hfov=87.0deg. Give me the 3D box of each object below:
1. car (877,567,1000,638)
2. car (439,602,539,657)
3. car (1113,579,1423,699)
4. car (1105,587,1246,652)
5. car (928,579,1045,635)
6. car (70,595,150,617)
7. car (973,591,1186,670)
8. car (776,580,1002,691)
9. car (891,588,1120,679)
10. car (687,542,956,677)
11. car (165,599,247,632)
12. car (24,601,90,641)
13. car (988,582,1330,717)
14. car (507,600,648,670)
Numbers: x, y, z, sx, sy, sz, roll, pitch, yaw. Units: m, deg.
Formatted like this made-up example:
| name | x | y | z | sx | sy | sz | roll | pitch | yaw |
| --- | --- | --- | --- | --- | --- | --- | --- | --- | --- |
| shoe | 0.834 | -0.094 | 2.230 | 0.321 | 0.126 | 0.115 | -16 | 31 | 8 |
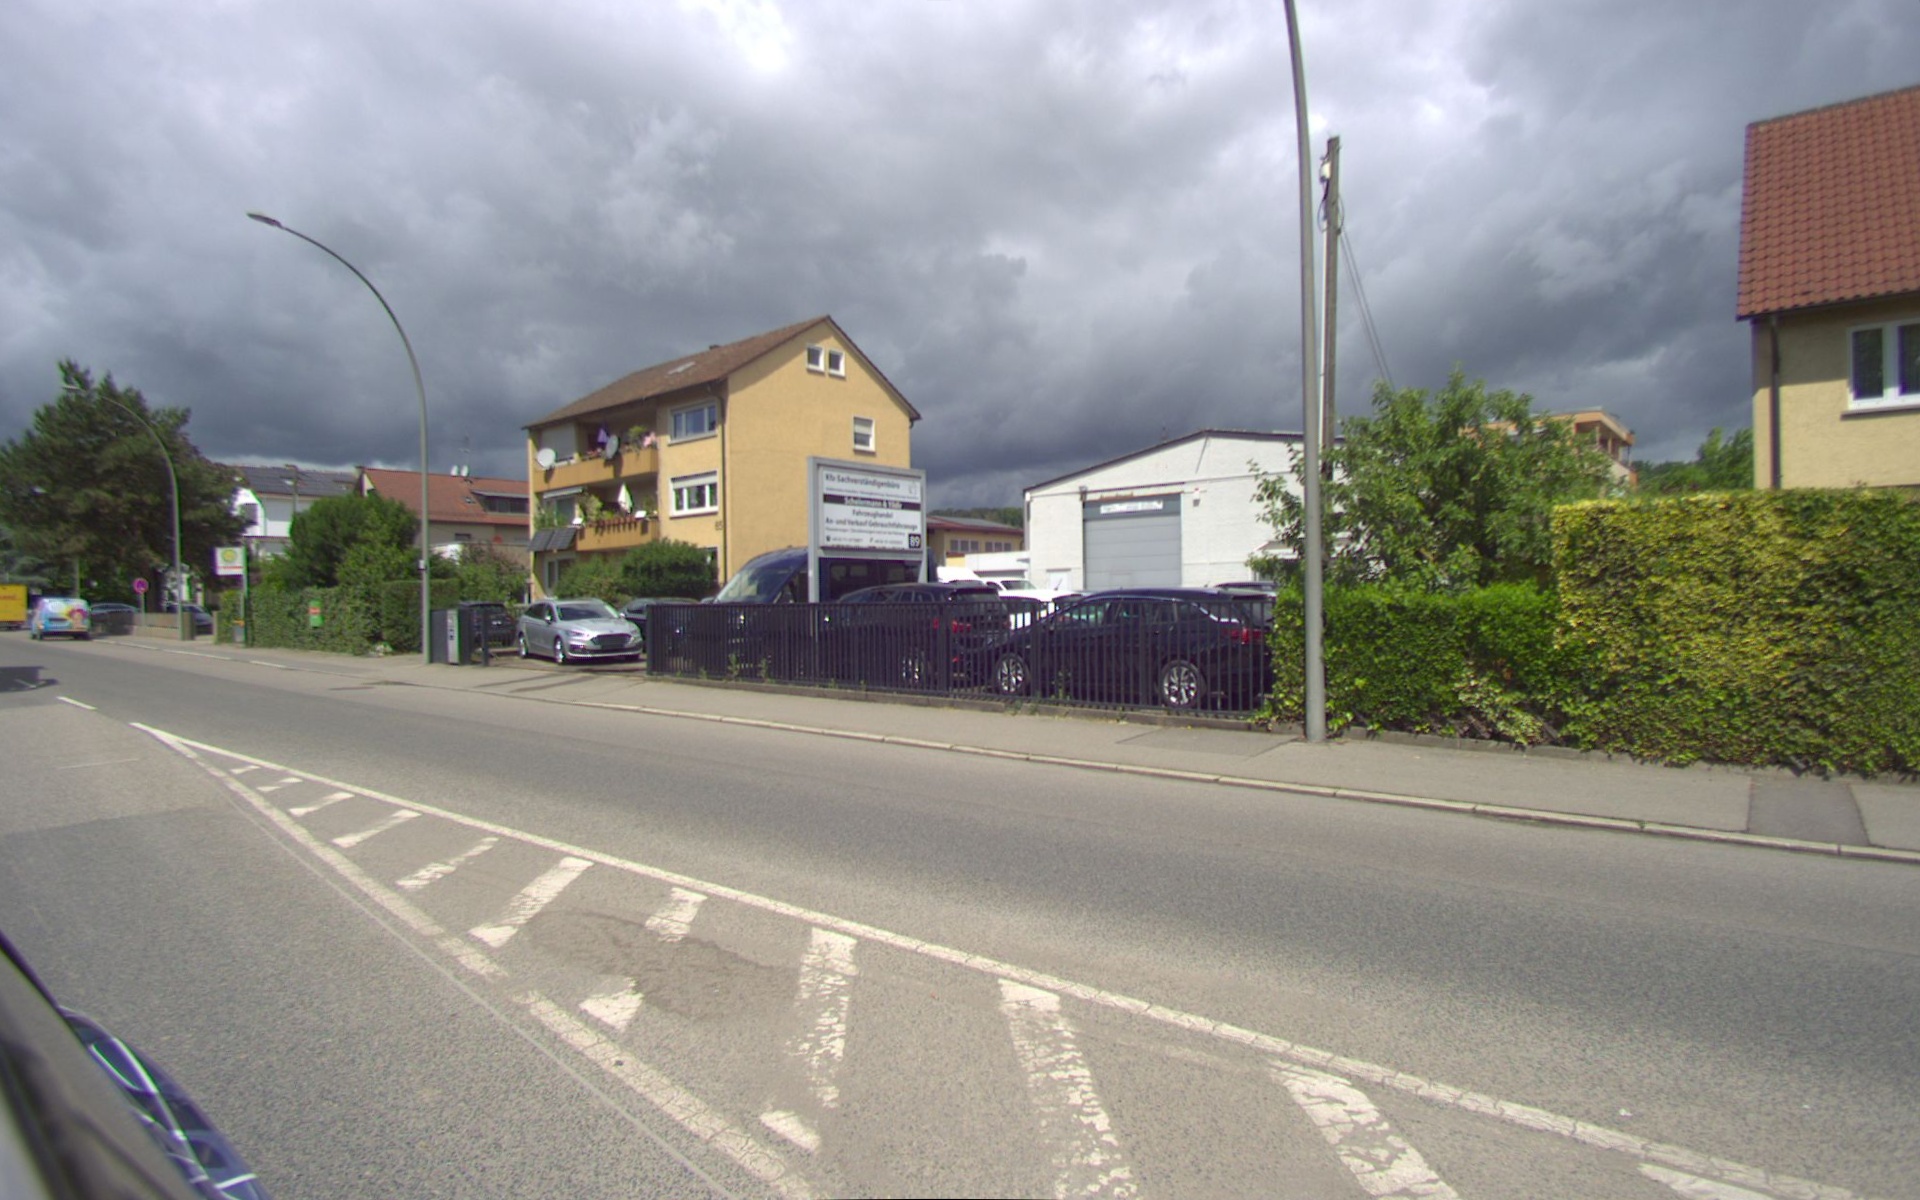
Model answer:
| name | x | y | z | sx | sy | sz | roll | pitch | yaw |
| --- | --- | --- | --- | --- | --- | --- | --- | --- | --- |
| car | -0.777 | 0.076 | 34.789 | 4.000 | 2.286 | 1.972 | 0 | 0 | 43 |
| car | -15.484 | 0.930 | 33.206 | 3.523 | 1.678 | 1.806 | 0 | 0 | 43 |
| car | 4.504 | 0.496 | 15.134 | 4.000 | 1.552 | 1.972 | 0 | 0 | 43 |
| car | 6.858 | 0.569 | 32.412 | 4.000 | 1.941 | 1.972 | 0 | 0 | 43 |
| car | 0.930 | 0.229 | 36.838 | 4.000 | 1.941 | 1.972 | 0 | 0 | 43 |
| car | -68.282 | 0.442 | 81.324 | 2.217 | 1.691 | 4.673 | 0 | 0 | 41 |
| car | 2.295 | 0.545 | 20.149 | 4.000 | 1.423 | 1.715 | 0 | 0 | 43 |
| car | -1.253 | 0.520 | 16.894 | 3.621 | 1.633 | 1.789 | 0 | 0 | 43 |
| car | 0.750 | 0.543 | 18.533 | 4.000 | 1.470 | 1.794 | 0 | 0 | 43 |
| car | -2.681 | 0.150 | 20.703 | 2.105 | 2.402 | 5.290 | 0 | 0 | 44 |
| car | -46.905 | 0.964 | 62.982 | 3.957 | 2.029 | 1.993 | 0 | 0 | 11 |
| car | -40.458 | 0.891 | 45.328 | 3.998 | 1.693 | 1.707 | 0 | 0 | 41 |
| car | 2.497 | 0.541 | 13.276 | 4.043 | 1.494 | 1.839 | 0 | 0 | 42 |
| car | -9.240 | 0.765 | 24.218 | 1.860 | 1.470 | 4.358 | -2 | 1 | -39 |
